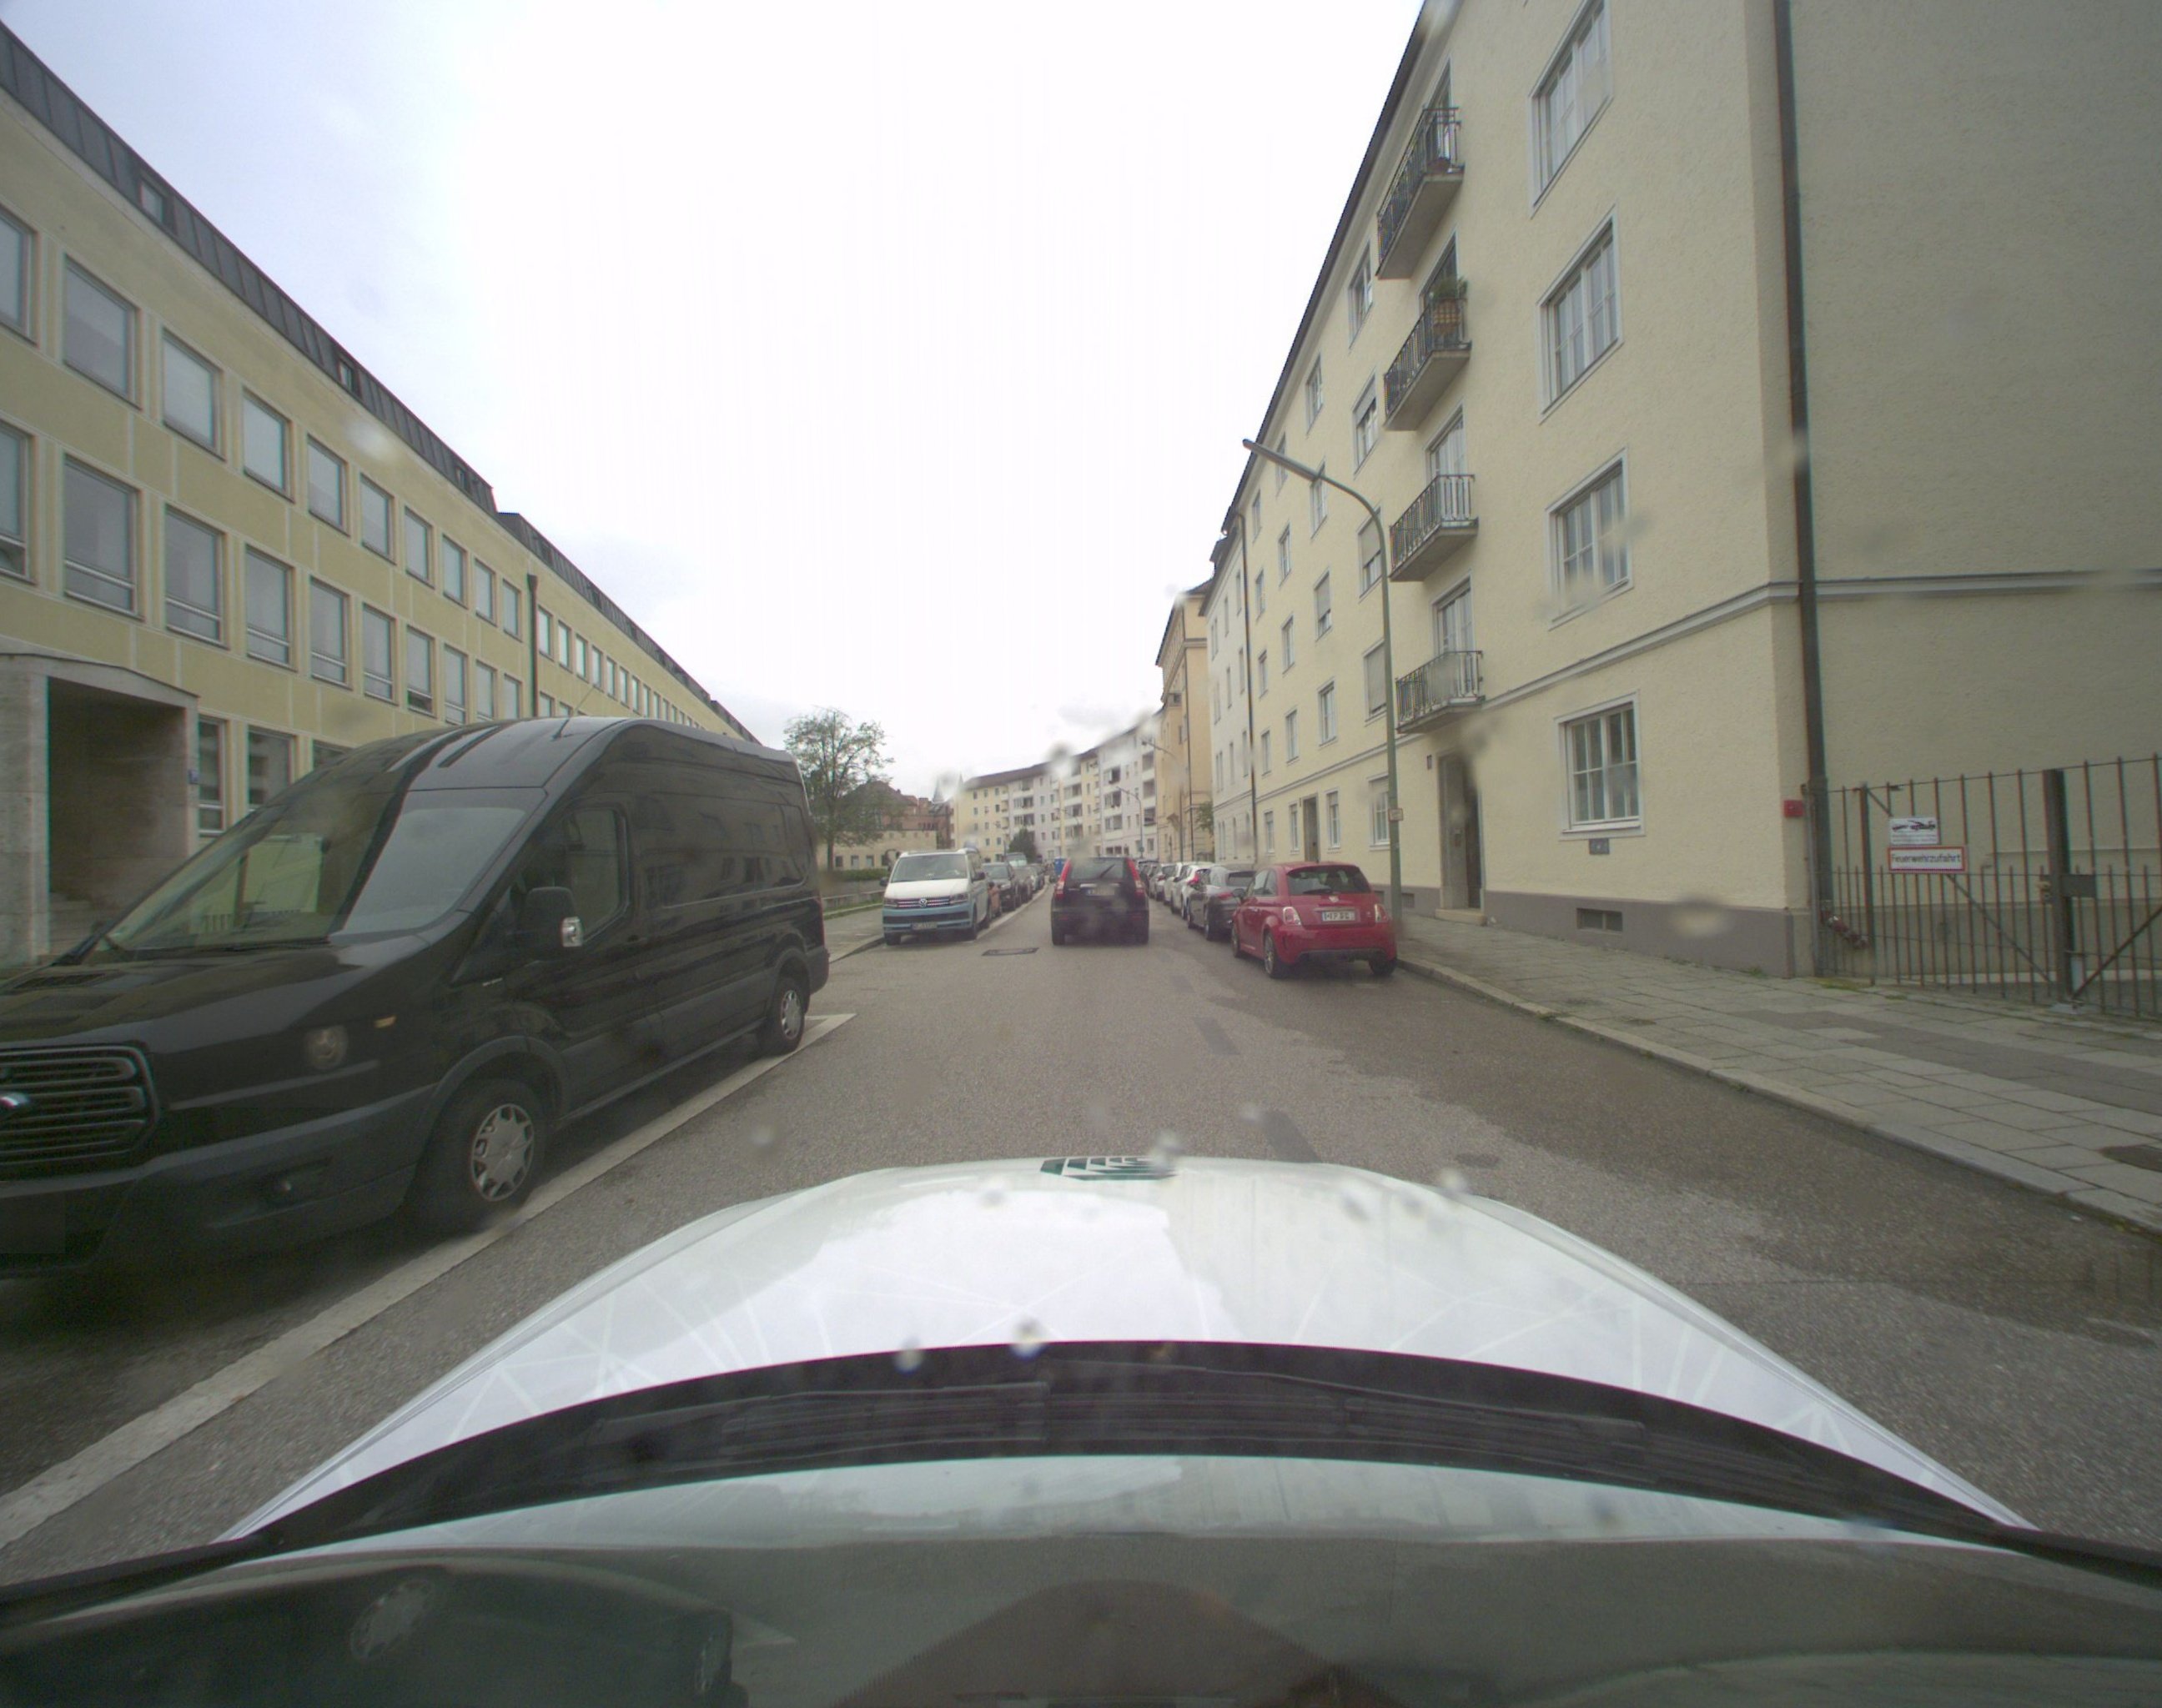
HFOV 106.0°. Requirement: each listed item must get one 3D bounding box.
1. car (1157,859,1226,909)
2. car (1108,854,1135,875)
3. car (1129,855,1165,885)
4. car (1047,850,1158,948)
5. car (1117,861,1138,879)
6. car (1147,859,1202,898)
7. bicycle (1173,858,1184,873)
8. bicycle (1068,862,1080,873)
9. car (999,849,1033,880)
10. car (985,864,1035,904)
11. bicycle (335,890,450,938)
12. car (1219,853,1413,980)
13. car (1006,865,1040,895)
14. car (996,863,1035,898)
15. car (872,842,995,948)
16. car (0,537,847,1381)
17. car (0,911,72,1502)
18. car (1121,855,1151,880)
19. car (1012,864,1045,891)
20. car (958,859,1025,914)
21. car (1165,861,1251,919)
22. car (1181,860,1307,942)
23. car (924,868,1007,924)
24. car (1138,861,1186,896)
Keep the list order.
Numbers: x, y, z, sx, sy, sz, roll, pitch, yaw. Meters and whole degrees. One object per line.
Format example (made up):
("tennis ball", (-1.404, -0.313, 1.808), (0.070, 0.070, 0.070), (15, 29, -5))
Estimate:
("car", (3.636, 0.958, 27.406), (1.674, 1.481, 4.165), (-2, -1, -1))
("car", (3.695, 0.979, 74.791), (1.776, 1.807, 4.264), (0, -1, -8))
("car", (3.800, 0.924, 47.695), (1.717, 1.634, 4.457), (-2, -1, 0))
("car", (0.304, 0.813, 16.227), (1.886, 1.647, 3.987), (-2, -1, -3))
("car", (3.979, 1.360, 69.649), (1.701, 1.447, 3.831), (-1, -1, 2))
("car", (3.678, 0.937, 32.651), (1.674, 1.427, 4.165), (-2, -1, -1))
("bicycle", (7.461, 0.895, 62.379), (0.577, 1.083, 1.953), (-5, 0, 1))
("bicycle", (-0.921, 1.743, 106.476), (0.970, 1.388, 2.550), (-1, -1, -15))
("car", (-6.156, 0.995, 76.122), (2.167, 2.641, 5.989), (-3, 0, -13))
("car", (-2.899, 1.190, 34.022), (1.675, 1.453, 3.869), (-4, 0, 0))
("bicycle", (-15.851, 1.379, 18.806), (1.951, 1.014, 0.578), (0, -1, -17))
("car", (3.199, 0.787, 11.870), (1.674, 1.497, 3.823), (-2, -1, 0))
("car", (-3.133, 1.380, 44.899), (1.652, 1.453, 4.069), (-4, 0, -2))
("car", (-3.107, 1.237, 39.275), (1.652, 1.453, 3.970), (-4, 0, -2))
("car", (-3.181, 0.841, 18.619), (1.923, 1.979, 5.018), (-3, -1, -2))
("car", (-3.706, 0.391, 5.440), (2.288, 2.645, 5.656), (-3, -1, 2))
("car", (-3.522, 0.907, 0.431), (1.698, 1.494, 3.485), (-2, -1, -4))
("car", (3.827, 0.935, 57.573), (1.862, 1.717, 4.866), (-1, -1, 1))
("car", (-3.168, 1.394, 49.982), (1.750, 1.453, 4.393), (-4, 0, -1))
("car", (-3.101, 1.089, 28.977), (1.738, 1.666, 4.448), (-5, -1, 0))
("car", (3.425, 0.932, 22.681), (1.674, 1.410, 4.442), (-2, -1, 0))
("car", (3.182, 0.862, 16.744), (1.674, 1.410, 4.421), (-2, -1, 0))
("car", (-3.212, 1.135, 23.363), (1.738, 1.387, 3.918), (-1, 0, 1))
("car", (3.629, 1.078, 37.230), (1.674, 1.427, 4.389), (-2, -1, -1))
